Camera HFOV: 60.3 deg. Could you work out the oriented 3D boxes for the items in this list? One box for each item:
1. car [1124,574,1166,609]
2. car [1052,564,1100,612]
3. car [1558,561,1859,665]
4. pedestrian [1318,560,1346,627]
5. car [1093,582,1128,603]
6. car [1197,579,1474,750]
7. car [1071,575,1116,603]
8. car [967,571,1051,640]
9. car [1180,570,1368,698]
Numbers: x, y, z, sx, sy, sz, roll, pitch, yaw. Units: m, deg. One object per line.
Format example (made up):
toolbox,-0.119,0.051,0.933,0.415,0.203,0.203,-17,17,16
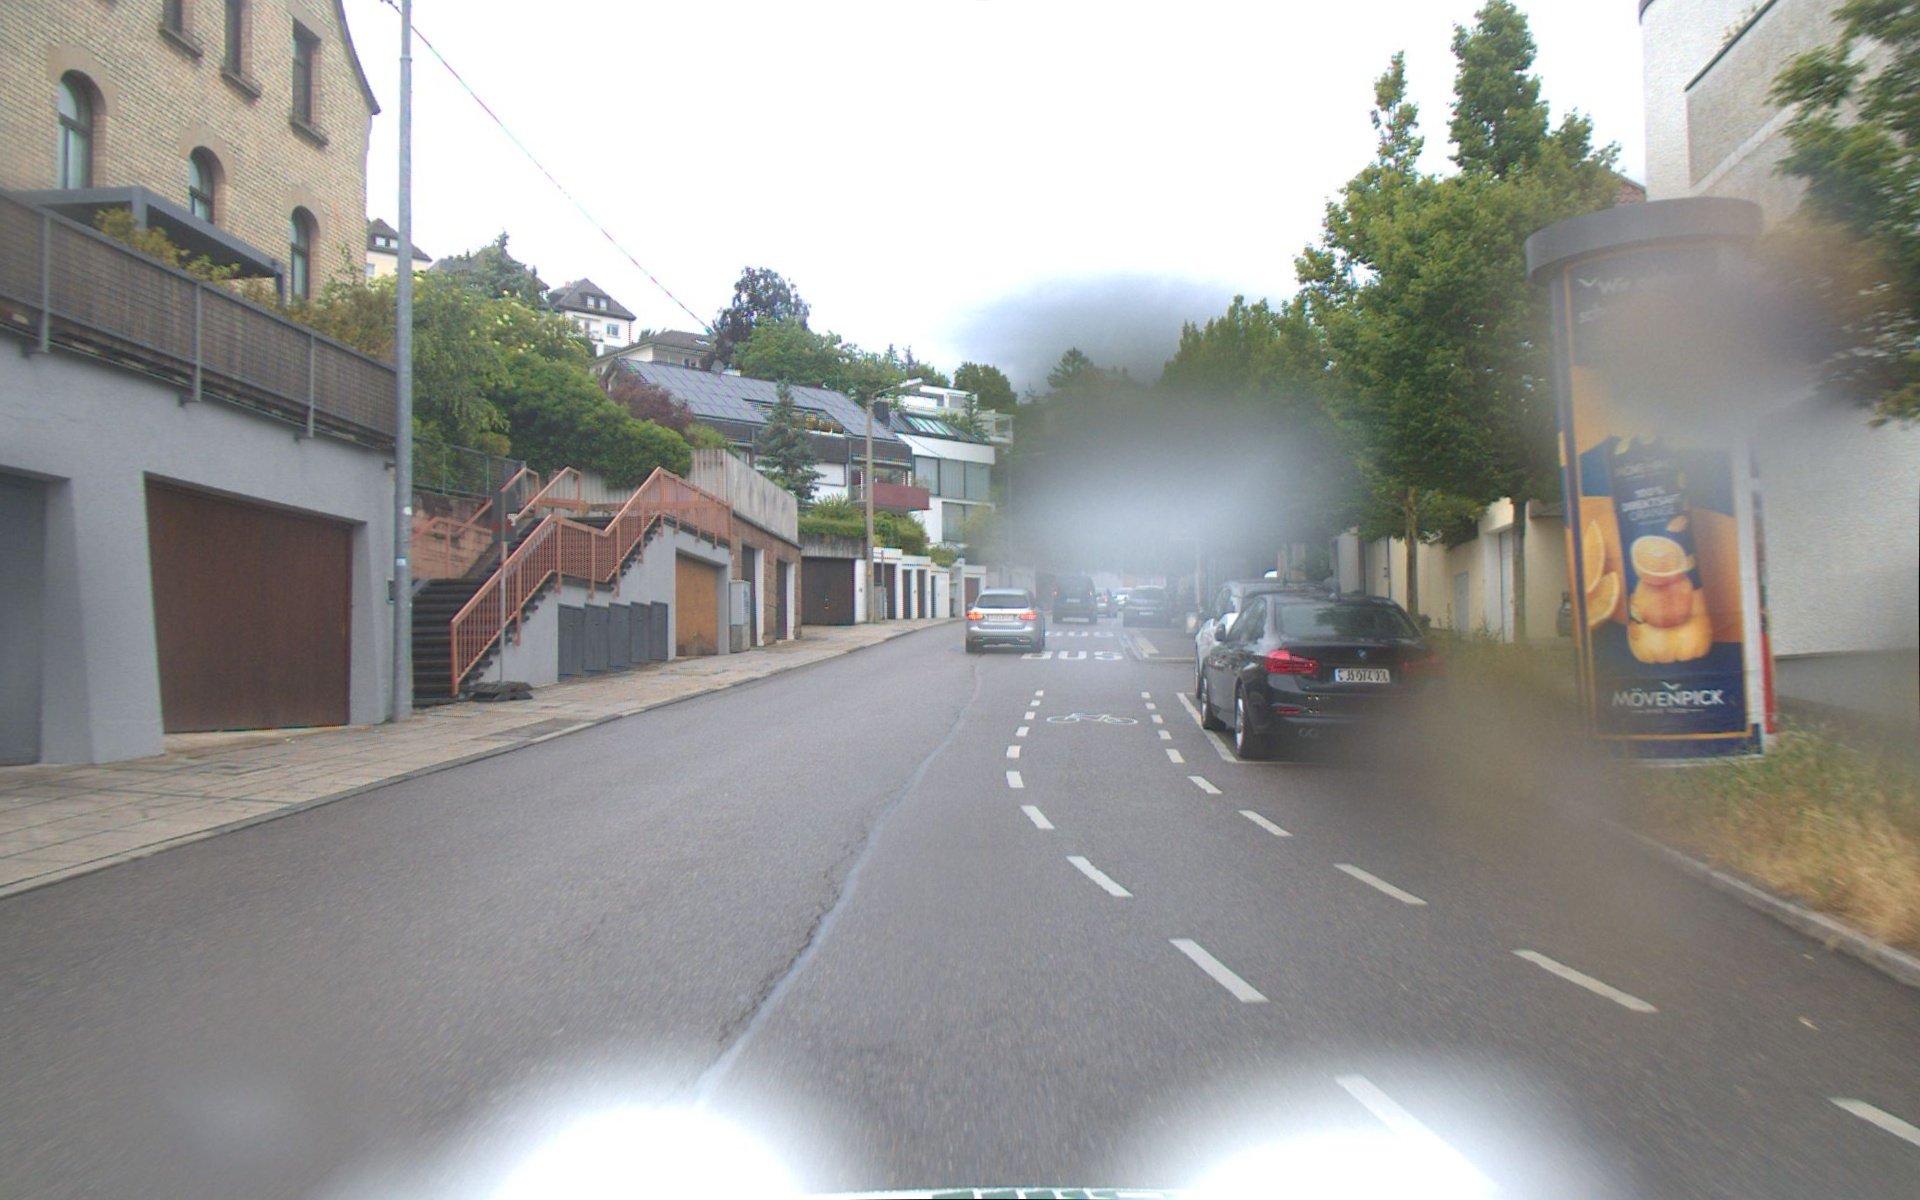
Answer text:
car,6.919,-0.317,61.634,1.437,1.276,3.585,0,0,8
car,4.580,-0.467,64.950,1.785,1.851,4.003,0,0,5
car,10.962,0.168,24.515,3.904,1.440,1.726,0,0,19
pedestrian,10.262,-0.185,45.636,0.625,1.826,0.744,0,0,2
car,9.628,-0.493,105.545,1.785,1.319,4.004,0,0,12
car,3.395,0.515,15.754,1.734,1.401,4.349,0,0,1
car,6.462,-0.519,79.754,1.785,1.319,4.004,0,0,10
car,1.210,0.081,38.970,1.773,1.384,4.003,2,2,4
car,3.901,0.380,21.126,1.680,1.476,3.833,0,0,0
